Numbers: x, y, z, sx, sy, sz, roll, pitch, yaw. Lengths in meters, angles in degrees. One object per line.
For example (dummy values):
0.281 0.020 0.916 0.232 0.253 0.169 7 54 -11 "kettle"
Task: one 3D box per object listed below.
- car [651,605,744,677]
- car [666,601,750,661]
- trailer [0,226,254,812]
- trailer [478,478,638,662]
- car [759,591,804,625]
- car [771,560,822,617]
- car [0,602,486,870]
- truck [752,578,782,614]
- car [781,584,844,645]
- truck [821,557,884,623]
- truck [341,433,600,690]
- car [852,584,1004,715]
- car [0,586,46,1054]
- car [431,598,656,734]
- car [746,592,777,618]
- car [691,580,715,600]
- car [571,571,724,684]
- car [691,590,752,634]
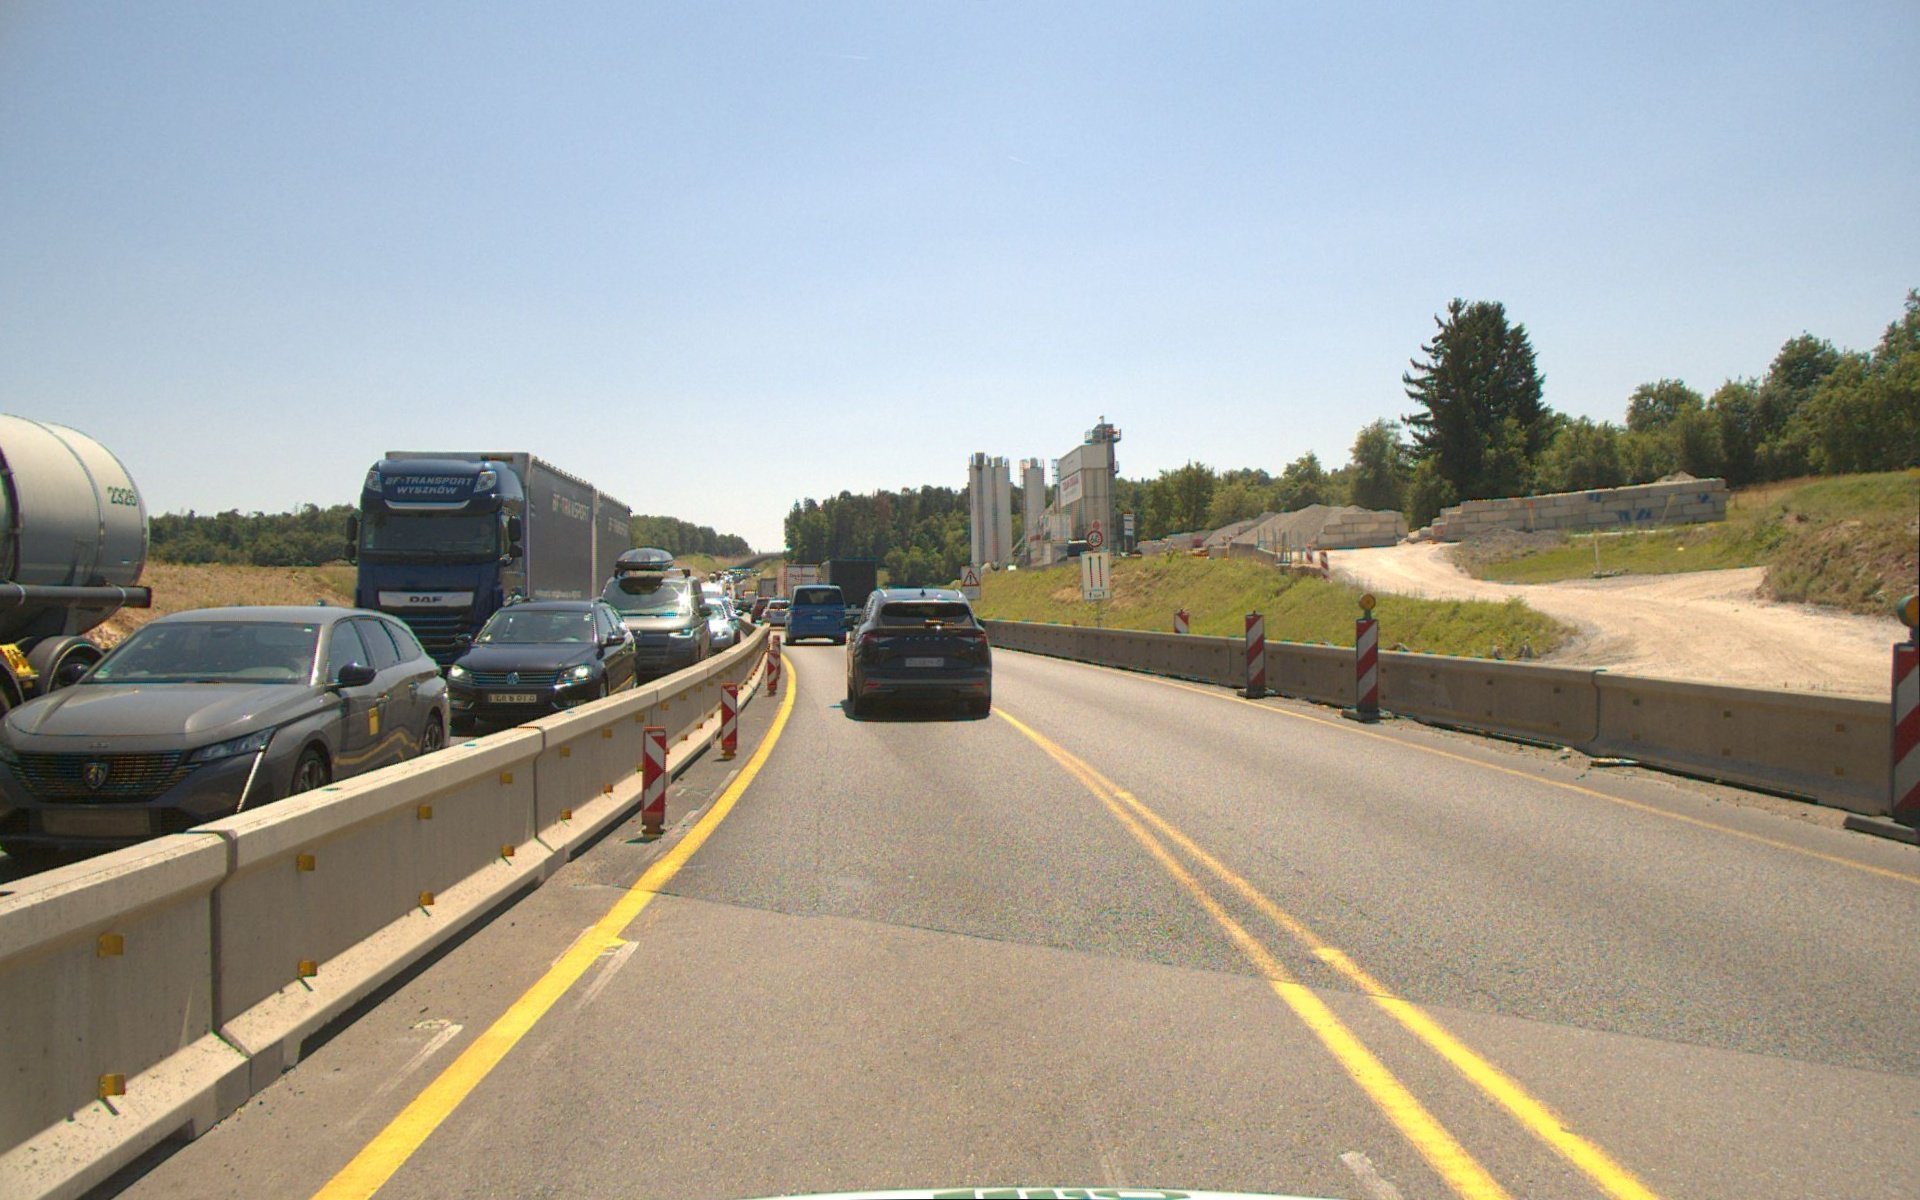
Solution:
-6.012 0.897 38.213 1.956 1.557 4.052 0 0 -7 "car"
-7.170 0.850 47.530 2.005 1.553 5.061 -1 0 -5 "car"
-7.968 -0.534 9.705 2.649 4.047 11.245 -1 0 1 "trailer"
-10.081 -0.712 42.279 2.683 4.210 8.177 -1 0 -5 "trailer"
-8.849 0.381 81.838 2.007 1.553 5.057 -3 0 -8 "car"
-12.706 -0.899 127.771 3.372 4.172 9.180 2 0 -8 "car"
-4.755 0.749 11.444 1.700 1.441 4.795 0 0 -2 "car"
-23.588 -0.473 201.597 3.410 4.294 10.359 0 0 -7 "truck"
-4.857 0.434 54.179 1.955 1.876 3.994 -1 1 -7 "car"
-5.299 -0.480 80.605 2.623 2.997 5.611 -3 0 -7 "truck"
-9.272 -0.674 32.795 2.719 4.210 10.859 -1 0 -5 "truck"
-0.520 0.602 22.423 1.806 1.609 3.996 0 0 -5 "car"
-4.039 0.747 3.774 1.643 1.571 4.117 0 0 -1 "car"
-4.989 0.715 20.463 1.700 1.472 4.795 0 0 -2 "car"
-12.890 0.298 107.129 1.788 1.673 3.856 0 0 -10 "car"
-17.929 -0.705 115.395 1.587 1.347 3.688 -1 0 -9 "car"
-5.422 0.436 29.341 2.005 1.808 5.062 0 0 -3 "car"
-9.119 0.430 63.608 2.005 1.553 5.061 -1 0 -5 "car"
